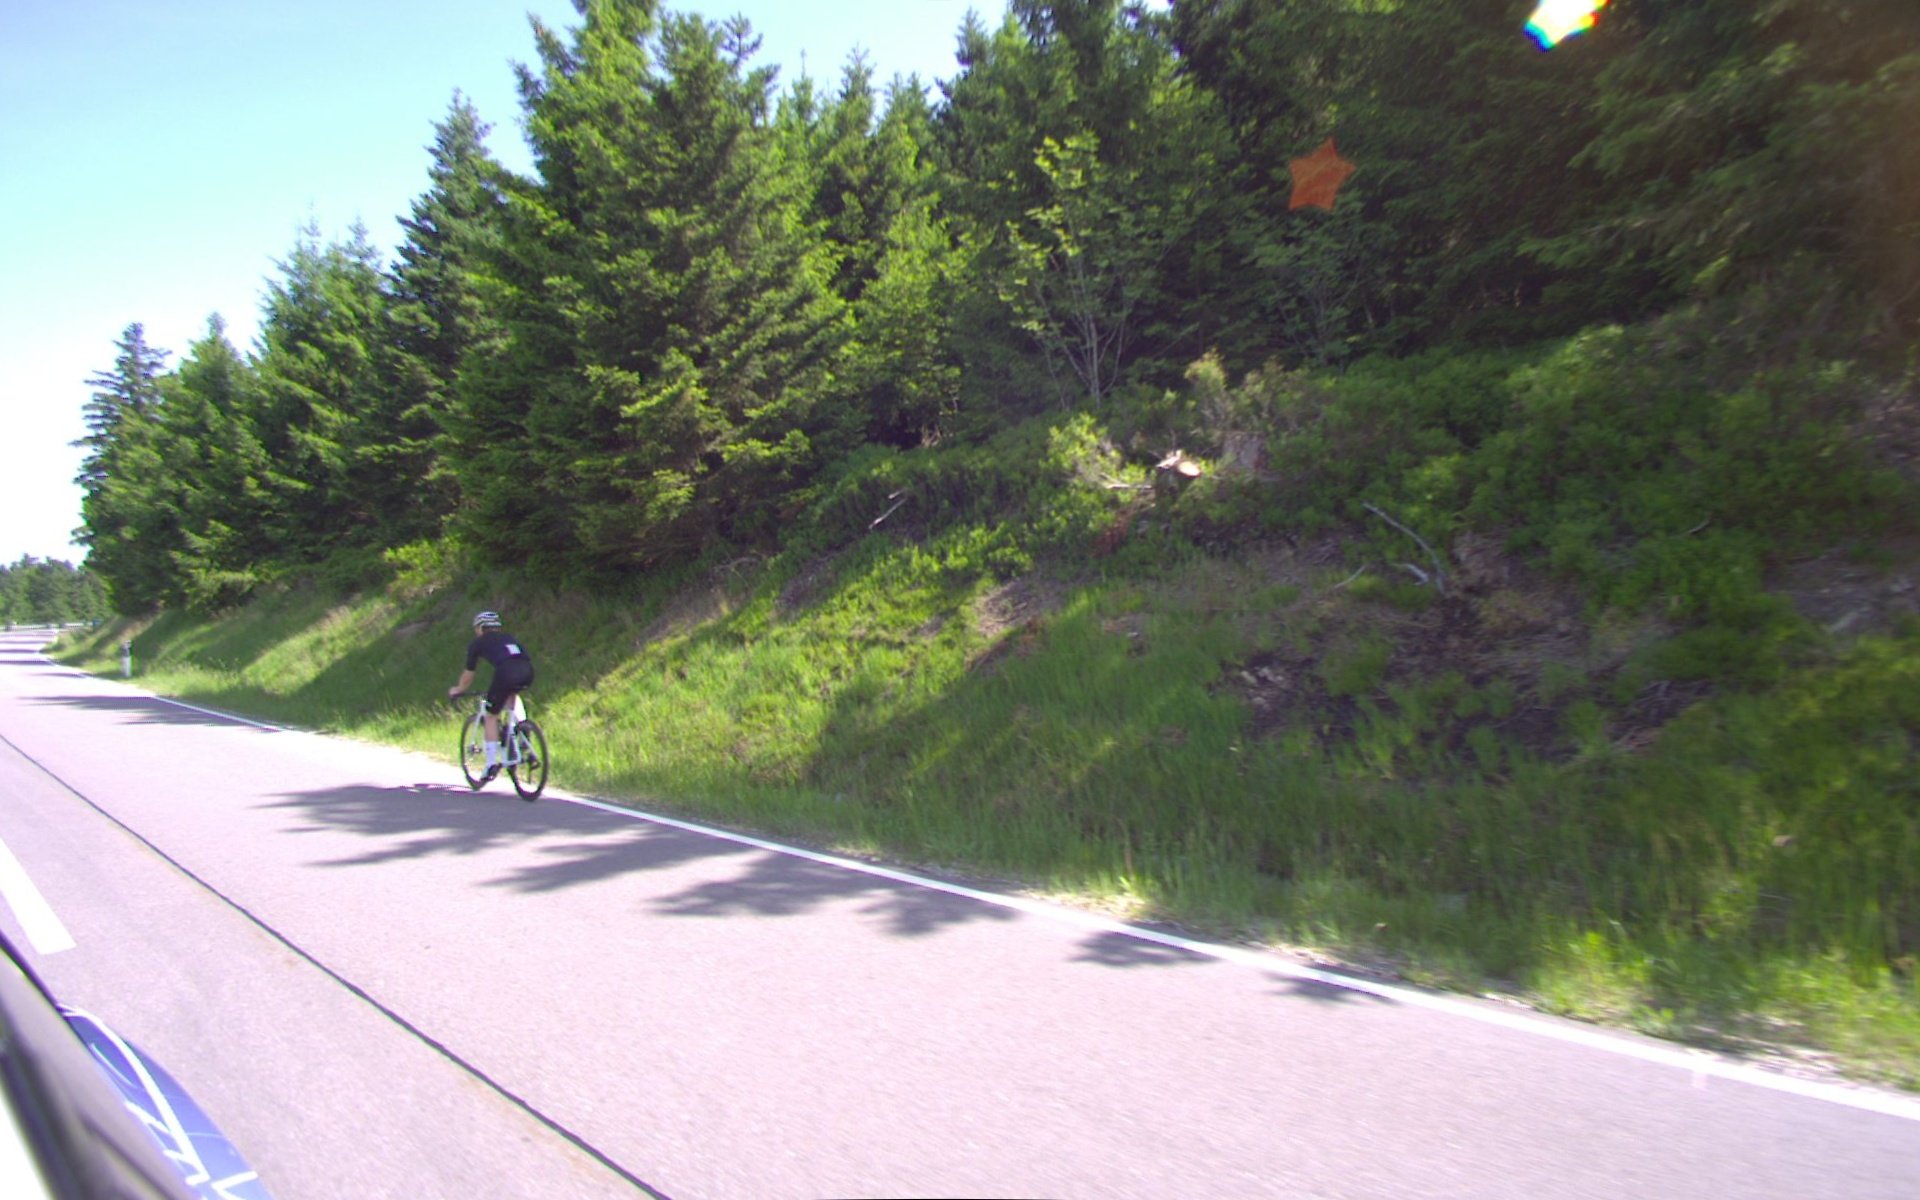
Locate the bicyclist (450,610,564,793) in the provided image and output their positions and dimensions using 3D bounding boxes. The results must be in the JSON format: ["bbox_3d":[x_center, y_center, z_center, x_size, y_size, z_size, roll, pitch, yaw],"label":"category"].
[{"bbox_3d":[-3.870,0.822,8.633,0.983,1.462,0.536,-2,-2,42],"label":"bicyclist"}]

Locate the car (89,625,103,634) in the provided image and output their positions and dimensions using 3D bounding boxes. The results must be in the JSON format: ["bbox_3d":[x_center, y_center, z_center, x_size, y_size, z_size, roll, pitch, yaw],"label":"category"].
[{"bbox_3d":[-138.030,4.749,161.728,1.663,1.425,3.267,1,-2,-40],"label":"car"}]

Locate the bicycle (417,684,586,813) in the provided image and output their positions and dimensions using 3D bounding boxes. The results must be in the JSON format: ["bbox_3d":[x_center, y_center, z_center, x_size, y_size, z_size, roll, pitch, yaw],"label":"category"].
[{"bbox_3d":[-3.992,1.225,8.722,2.061,0.893,0.547,-2,-2,42],"label":"bicycle"}]
